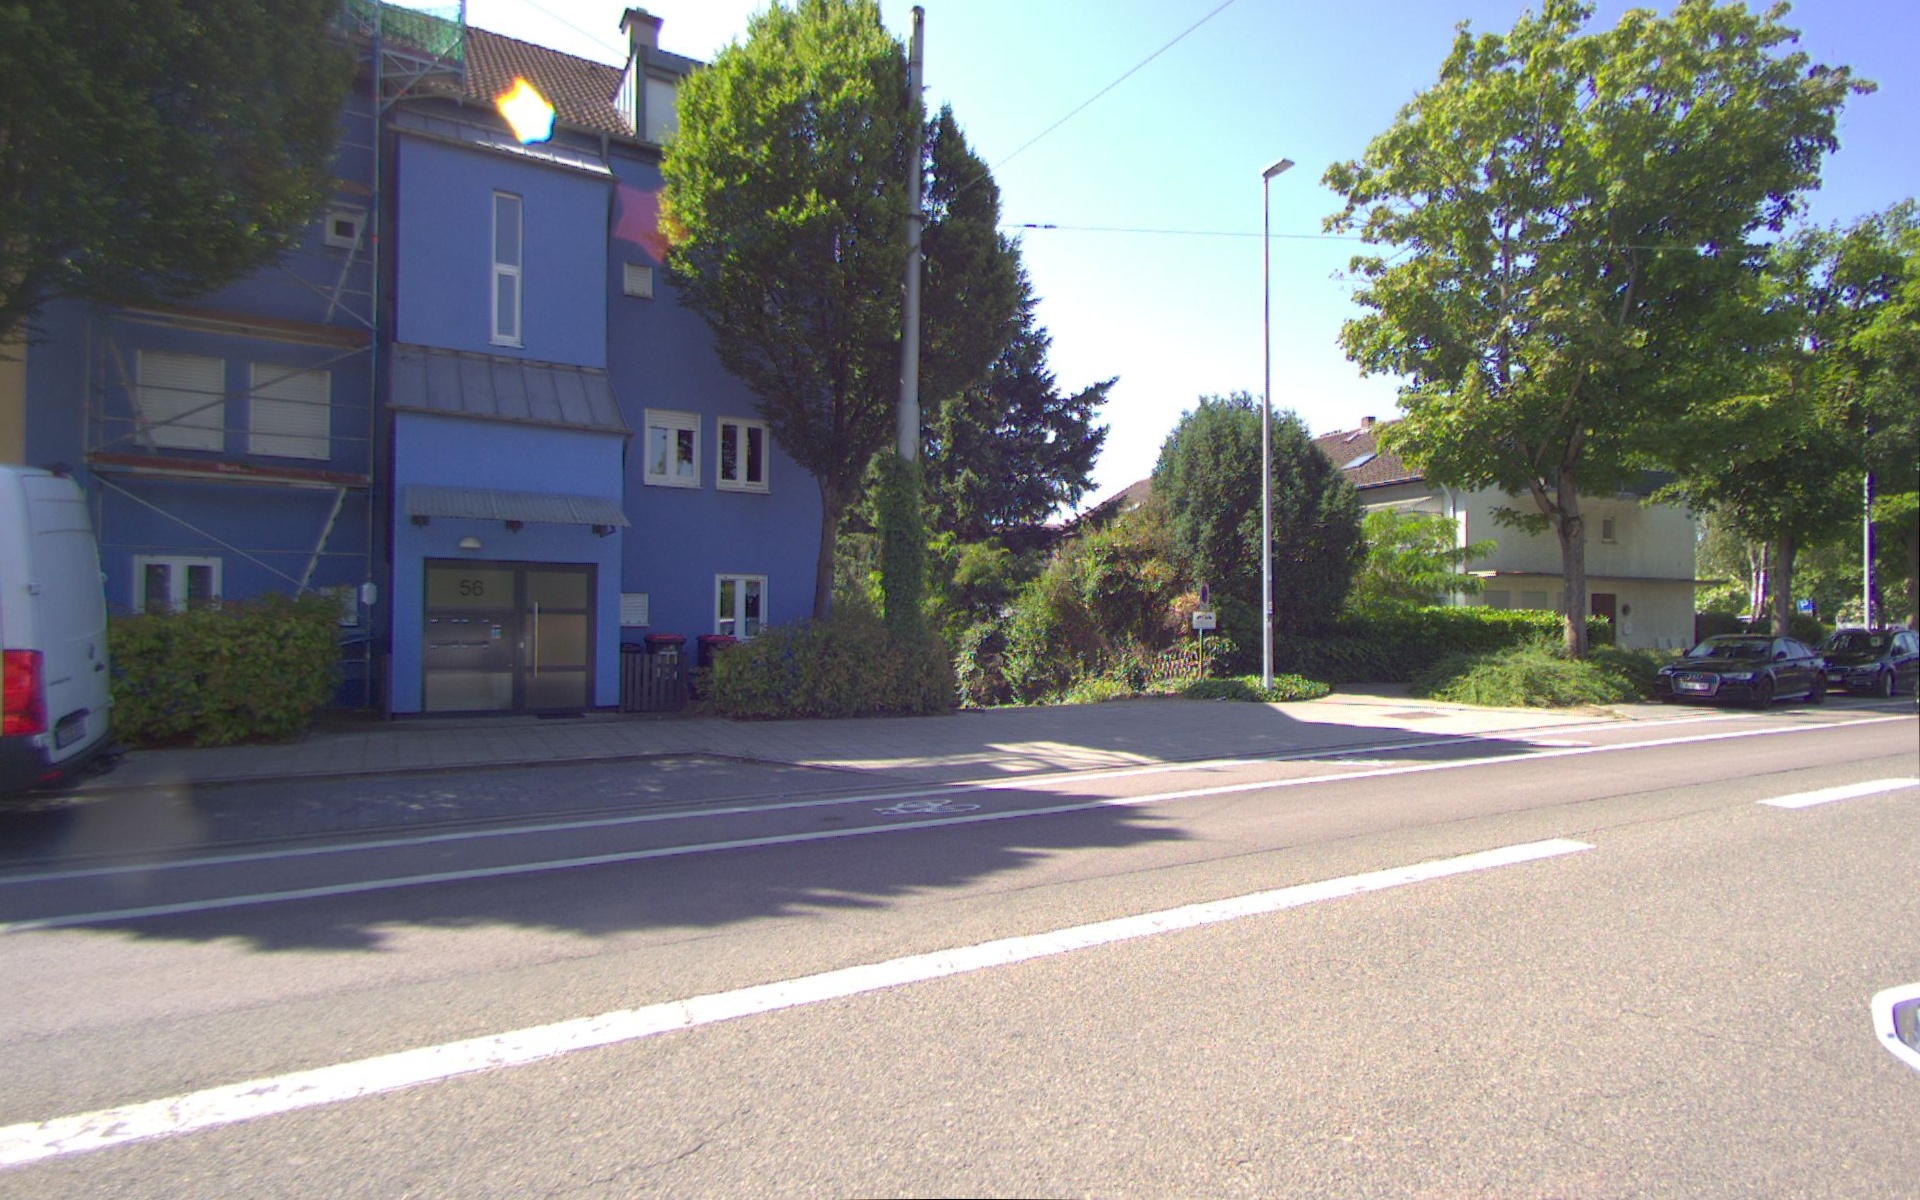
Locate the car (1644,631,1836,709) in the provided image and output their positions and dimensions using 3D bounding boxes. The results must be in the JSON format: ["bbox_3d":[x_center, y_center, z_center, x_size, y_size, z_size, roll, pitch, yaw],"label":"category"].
[{"bbox_3d":[16.781,1.434,21.547,4.859,1.485,1.829,1,-1,-34],"label":"car"}]

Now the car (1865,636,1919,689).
[{"bbox_3d":[27.377,1.718,28.156,4.727,1.398,1.682,1,-1,-31],"label":"car"}]

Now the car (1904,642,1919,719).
[{"bbox_3d":[17.720,1.335,16.866,4.017,1.261,1.679,1,-2,-31],"label":"car"}]

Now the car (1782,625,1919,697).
[{"bbox_3d":[22.739,1.486,25.197,4.837,1.627,1.753,1,-1,-31],"label":"car"}]

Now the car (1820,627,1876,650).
[{"bbox_3d":[77.961,3.361,88.228,1.535,1.901,3.405,1,-2,-31],"label":"car"}]

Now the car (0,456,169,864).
[{"bbox_3d":[-9.393,0.301,6.046,7.001,2.713,1.984,1,2,-30],"label":"car"}]

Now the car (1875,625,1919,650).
[{"bbox_3d":[83.536,3.300,88.310,1.980,2.040,4.228,2,0,-35],"label":"car"}]
